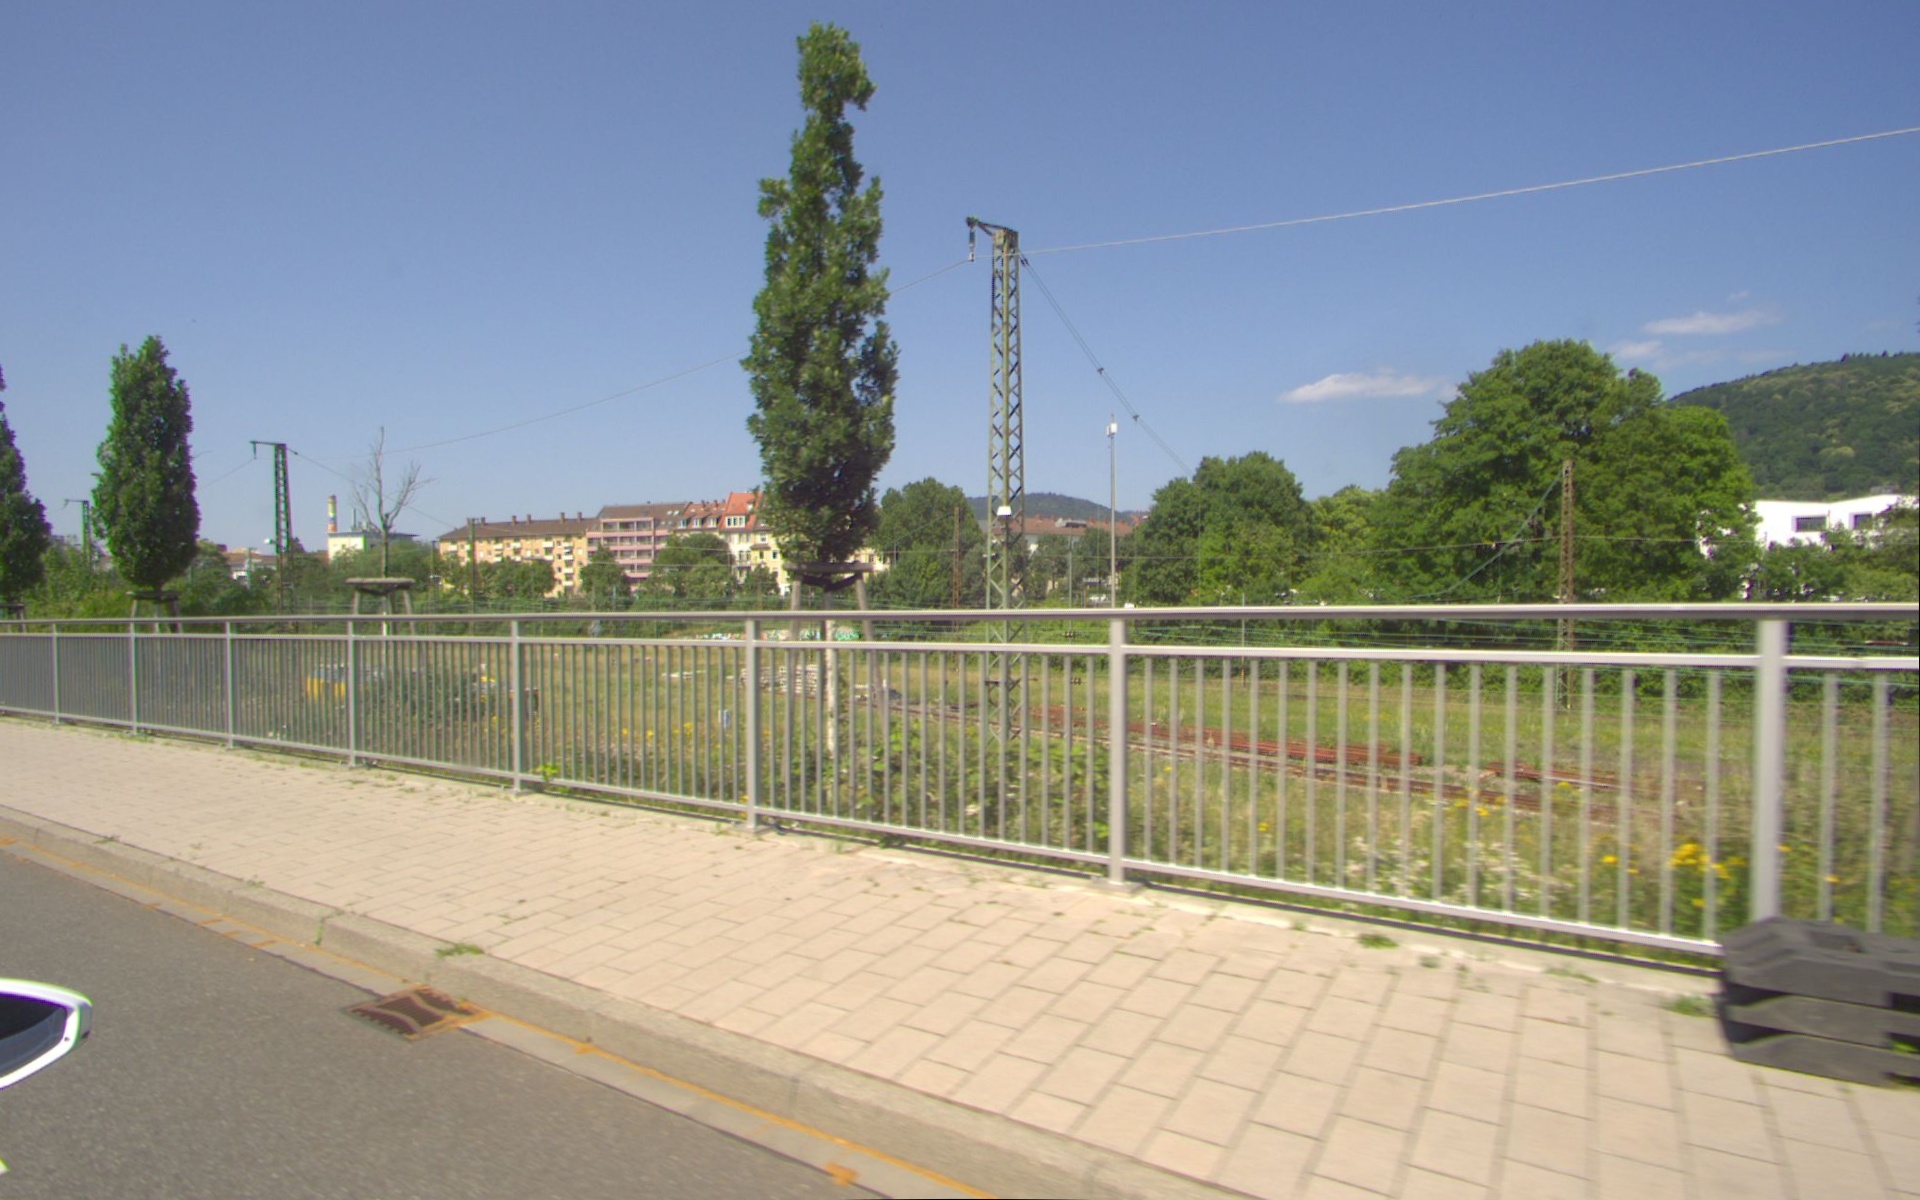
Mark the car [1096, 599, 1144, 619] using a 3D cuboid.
[{"bbox_3d":[17.539,0.964,109.797,4.928,2.141,1.985,0,1,38],"label":"car"}]
